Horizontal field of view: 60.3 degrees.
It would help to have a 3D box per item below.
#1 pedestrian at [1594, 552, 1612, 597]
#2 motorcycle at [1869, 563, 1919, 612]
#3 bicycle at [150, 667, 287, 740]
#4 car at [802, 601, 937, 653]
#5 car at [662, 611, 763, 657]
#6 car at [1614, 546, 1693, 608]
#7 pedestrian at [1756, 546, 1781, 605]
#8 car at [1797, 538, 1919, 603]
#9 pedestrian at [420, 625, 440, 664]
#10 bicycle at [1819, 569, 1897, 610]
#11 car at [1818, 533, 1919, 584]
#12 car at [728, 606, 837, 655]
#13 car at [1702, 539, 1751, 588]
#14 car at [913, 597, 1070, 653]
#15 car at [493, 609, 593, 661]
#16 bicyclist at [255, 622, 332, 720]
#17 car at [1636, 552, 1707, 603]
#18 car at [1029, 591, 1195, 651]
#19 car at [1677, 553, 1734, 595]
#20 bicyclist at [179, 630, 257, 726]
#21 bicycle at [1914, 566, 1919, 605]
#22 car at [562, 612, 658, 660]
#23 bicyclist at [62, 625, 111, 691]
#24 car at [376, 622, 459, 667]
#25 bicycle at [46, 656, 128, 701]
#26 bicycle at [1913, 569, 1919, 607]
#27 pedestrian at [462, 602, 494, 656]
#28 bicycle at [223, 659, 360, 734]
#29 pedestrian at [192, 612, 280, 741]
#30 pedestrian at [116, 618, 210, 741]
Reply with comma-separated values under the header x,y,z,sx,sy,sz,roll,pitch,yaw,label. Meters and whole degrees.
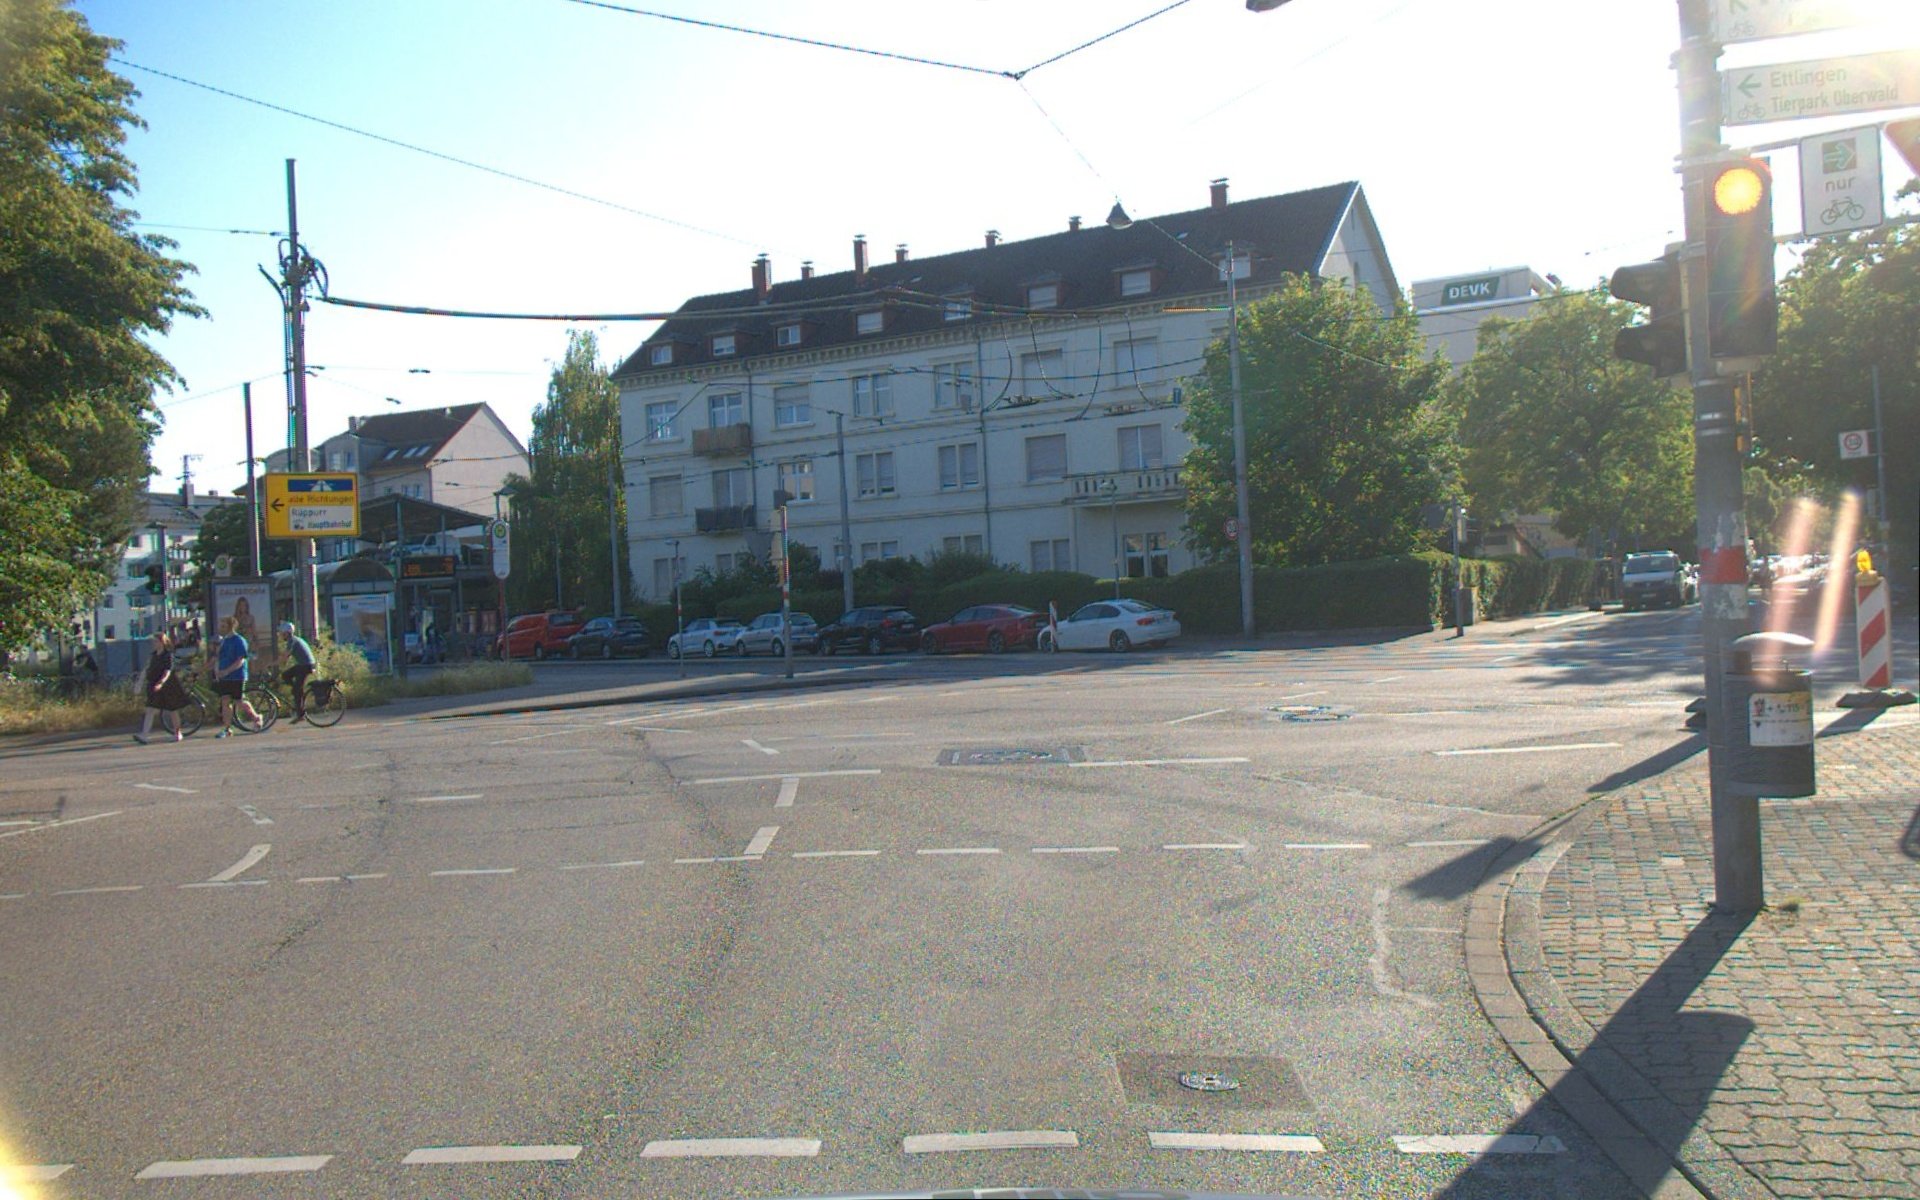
x,y,z,sx,sy,sz,roll,pitch,yaw,label
25.420,-1.020,65.413,0.567,1.761,0.608,-3,0,23,pedestrian
22.932,-0.326,39.586,1.912,1.128,0.837,-3,0,24,motorcycle
-12.655,1.752,28.278,1.977,1.087,0.662,-3,0,-12,bicycle
-3.034,0.912,54.564,1.970,1.472,4.634,-6,2,-41,car
-9.178,1.274,61.205,1.830,1.472,3.899,-6,2,-41,car
25.344,-0.865,60.329,2.308,2.049,5.306,-3,0,26,car
26.420,-0.795,54.058,0.648,1.871,0.682,-3,0,28,pedestrian
31.339,-1.014,55.664,5.510,1.958,2.360,-3,-2,26,car
-21.177,1.790,66.095,0.560,1.527,0.672,-3,0,-29,pedestrian
22.771,-0.260,41.975,1.690,0.949,0.671,-3,0,29,bicycle
40.812,-1.822,73.115,4.990,1.958,2.360,-3,-2,26,car
-6.214,1.086,57.759,1.971,1.472,3.663,-6,2,-41,car
43.107,-2.026,92.939,2.308,2.558,5.306,-3,0,26,car
0.910,0.770,50.116,4.625,1.400,1.974,-3,2,44,car
-18.167,1.522,71.941,2.039,1.995,5.073,-6,2,-41,car
-11.126,1.171,27.619,1.016,1.558,0.696,-3,0,-12,bicyclist
28.345,-0.914,65.755,2.308,1.826,5.306,-3,0,26,car
4.196,0.593,46.173,1.916,1.400,4.426,-6,2,-43,car
35.637,-1.243,78.967,2.308,1.826,5.306,-3,0,26,car
-12.670,1.324,28.259,1.015,1.558,0.659,-3,0,-11,bicyclist
24.369,-0.396,40.497,1.691,0.949,0.561,-3,0,29,bicycle
-14.196,1.479,66.962,1.830,1.696,4.304,-6,2,-41,car
-23.192,1.536,43.907,0.654,1.681,0.887,-3,0,20,bicyclist
-27.196,2.233,82.777,2.039,1.995,5.073,-6,2,-41,car
-23.150,2.074,43.880,0.647,1.088,2.020,1,0,19,bicycle
24.729,-0.342,41.176,1.691,0.949,0.561,-3,0,29,bicycle
-18.976,1.148,65.129,0.914,2.049,0.759,-3,0,-37,pedestrian
-11.134,1.595,27.611,1.978,1.087,0.661,-3,0,-13,bicycle
-11.430,1.186,26.141,0.894,1.958,1.066,-3,0,-6,pedestrian
-12.097,1.186,25.149,0.894,1.777,1.066,-3,0,-6,pedestrian
